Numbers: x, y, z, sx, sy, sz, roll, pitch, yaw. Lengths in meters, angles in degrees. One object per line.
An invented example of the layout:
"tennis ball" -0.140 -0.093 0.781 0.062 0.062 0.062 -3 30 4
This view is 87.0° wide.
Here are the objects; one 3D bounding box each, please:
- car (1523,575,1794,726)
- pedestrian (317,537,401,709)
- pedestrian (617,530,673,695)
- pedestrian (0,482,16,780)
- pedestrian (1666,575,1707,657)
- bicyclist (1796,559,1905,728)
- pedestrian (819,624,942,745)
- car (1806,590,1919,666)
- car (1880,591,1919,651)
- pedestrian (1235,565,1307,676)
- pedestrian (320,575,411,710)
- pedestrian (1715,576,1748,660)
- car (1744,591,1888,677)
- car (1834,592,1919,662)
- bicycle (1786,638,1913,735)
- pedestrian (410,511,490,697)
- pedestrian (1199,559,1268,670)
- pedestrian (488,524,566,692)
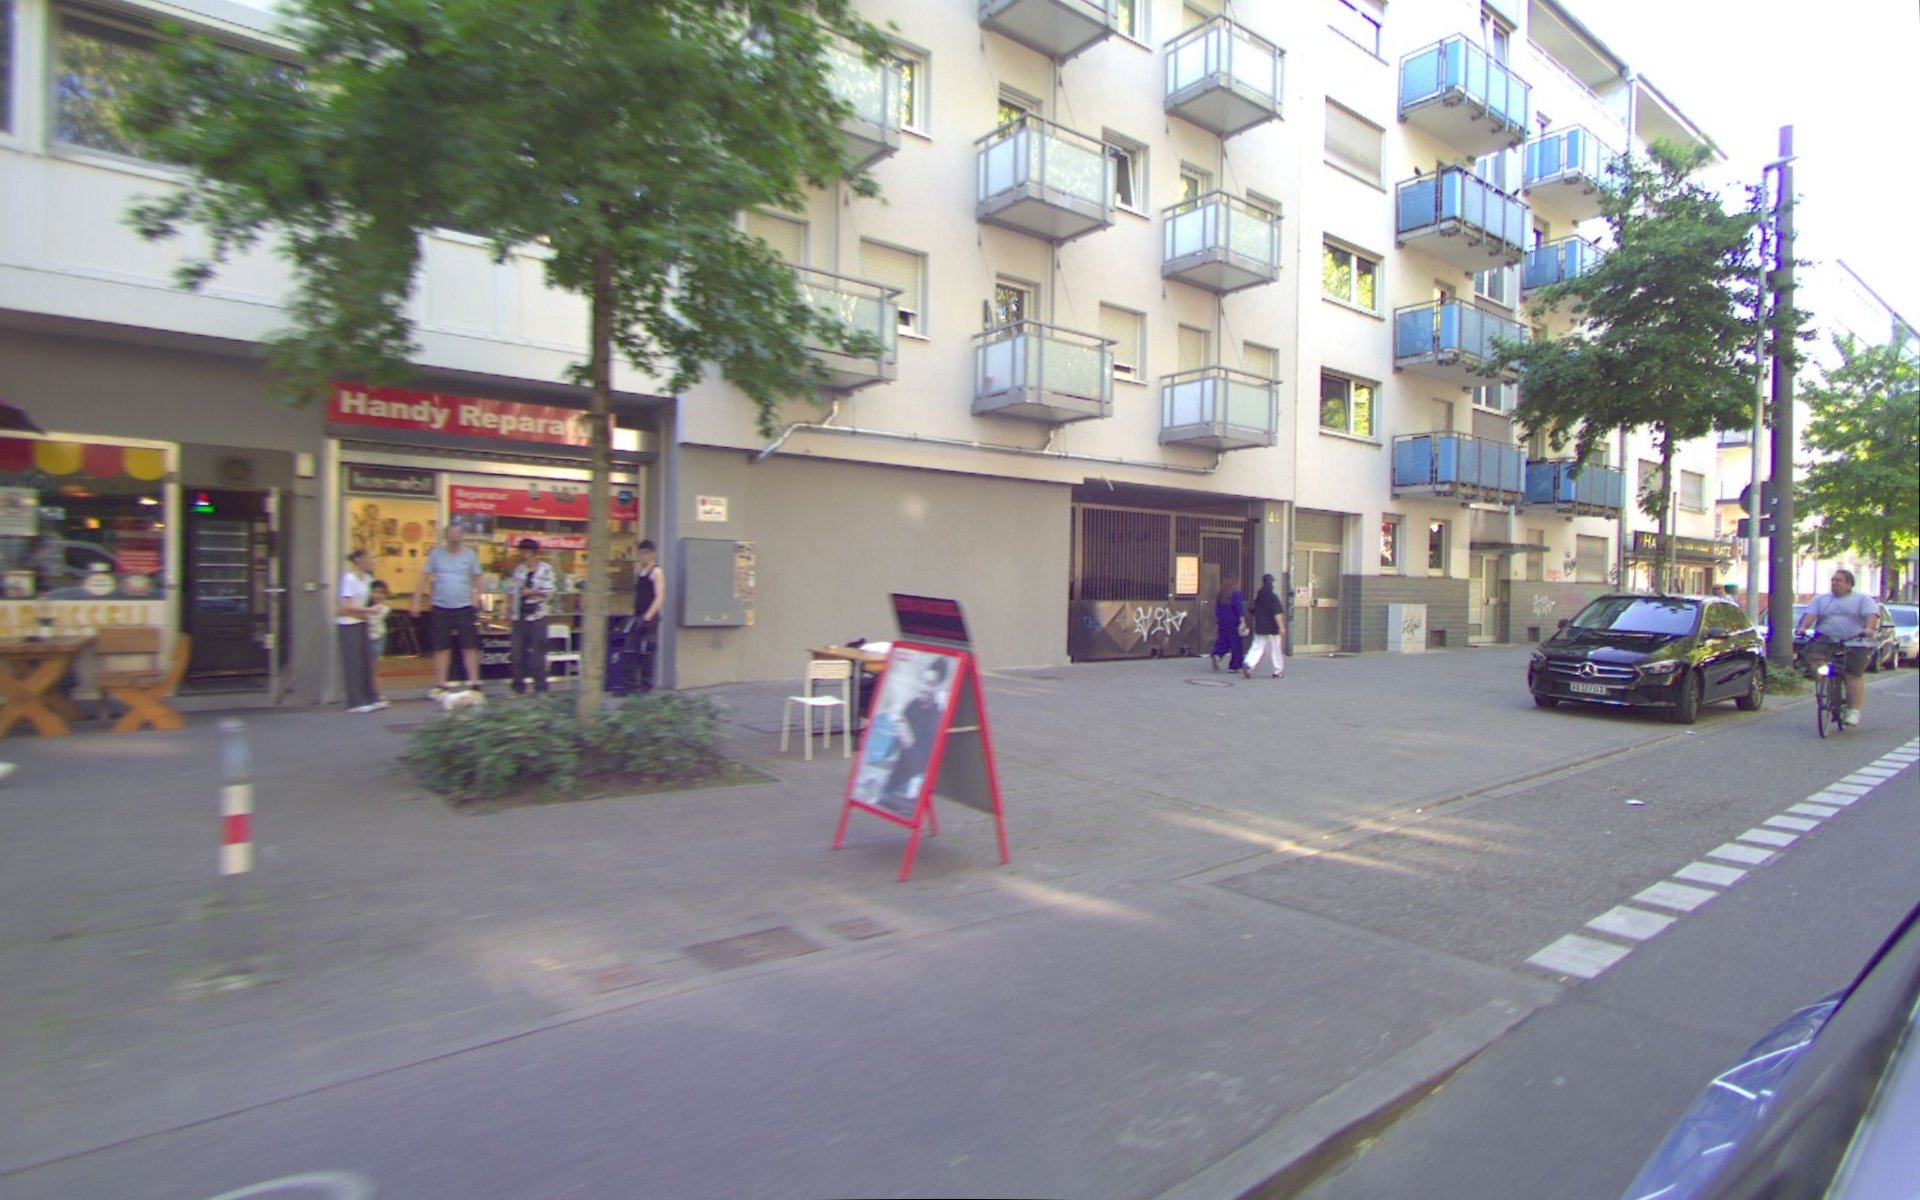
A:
"car" 9.409 0.554 13.516 4.251 1.606 1.764 0 5 -39
"pedestrian" -5.939 0.219 10.016 0.500 1.649 0.516 0 0 14
"pedestrian" -3.565 0.137 11.463 0.480 1.819 0.432 0 0 -39
"pedestrian" -6.366 0.188 6.077 0.977 1.806 0.591 0 0 -40
"pedestrian" 16.818 0.360 23.437 0.657 1.875 0.534 1 0 27
"bicyclist" 10.338 0.466 11.745 1.079 1.854 0.769 0 0 -38
"pedestrian" -0.752 0.763 9.576 0.997 1.040 0.652 0 0 39
"car" 20.595 0.591 23.074 2.829 1.556 1.448 0 3 -39
"car" 28.103 0.589 29.302 4.187 1.590 1.723 0 4 -42
"pedestrian" 4.832 0.300 15.741 0.854 1.657 0.643 1 3 -40
"pedestrian" -5.925 0.406 10.104 0.502 1.292 0.623 0 0 14
"pedestrian" 17.431 0.401 22.866 0.652 1.875 0.476 0 0 -41
"car" 17.526 0.639 20.666 3.822 1.499 1.626 0 3 -41
"car" 23.690 0.639 25.481 4.053 1.555 1.791 0 3 -39
"bicycle" 10.347 0.957 11.751 1.904 0.949 0.790 0 0 -38
"pedestrian" -5.655 0.037 11.224 0.776 1.979 0.508 0 0 -29
"pedestrian" 4.385 0.218 16.222 0.918 1.698 0.597 0 3 -41
"pedestrian" -4.803 0.084 11.247 0.620 1.828 0.526 0 0 5
